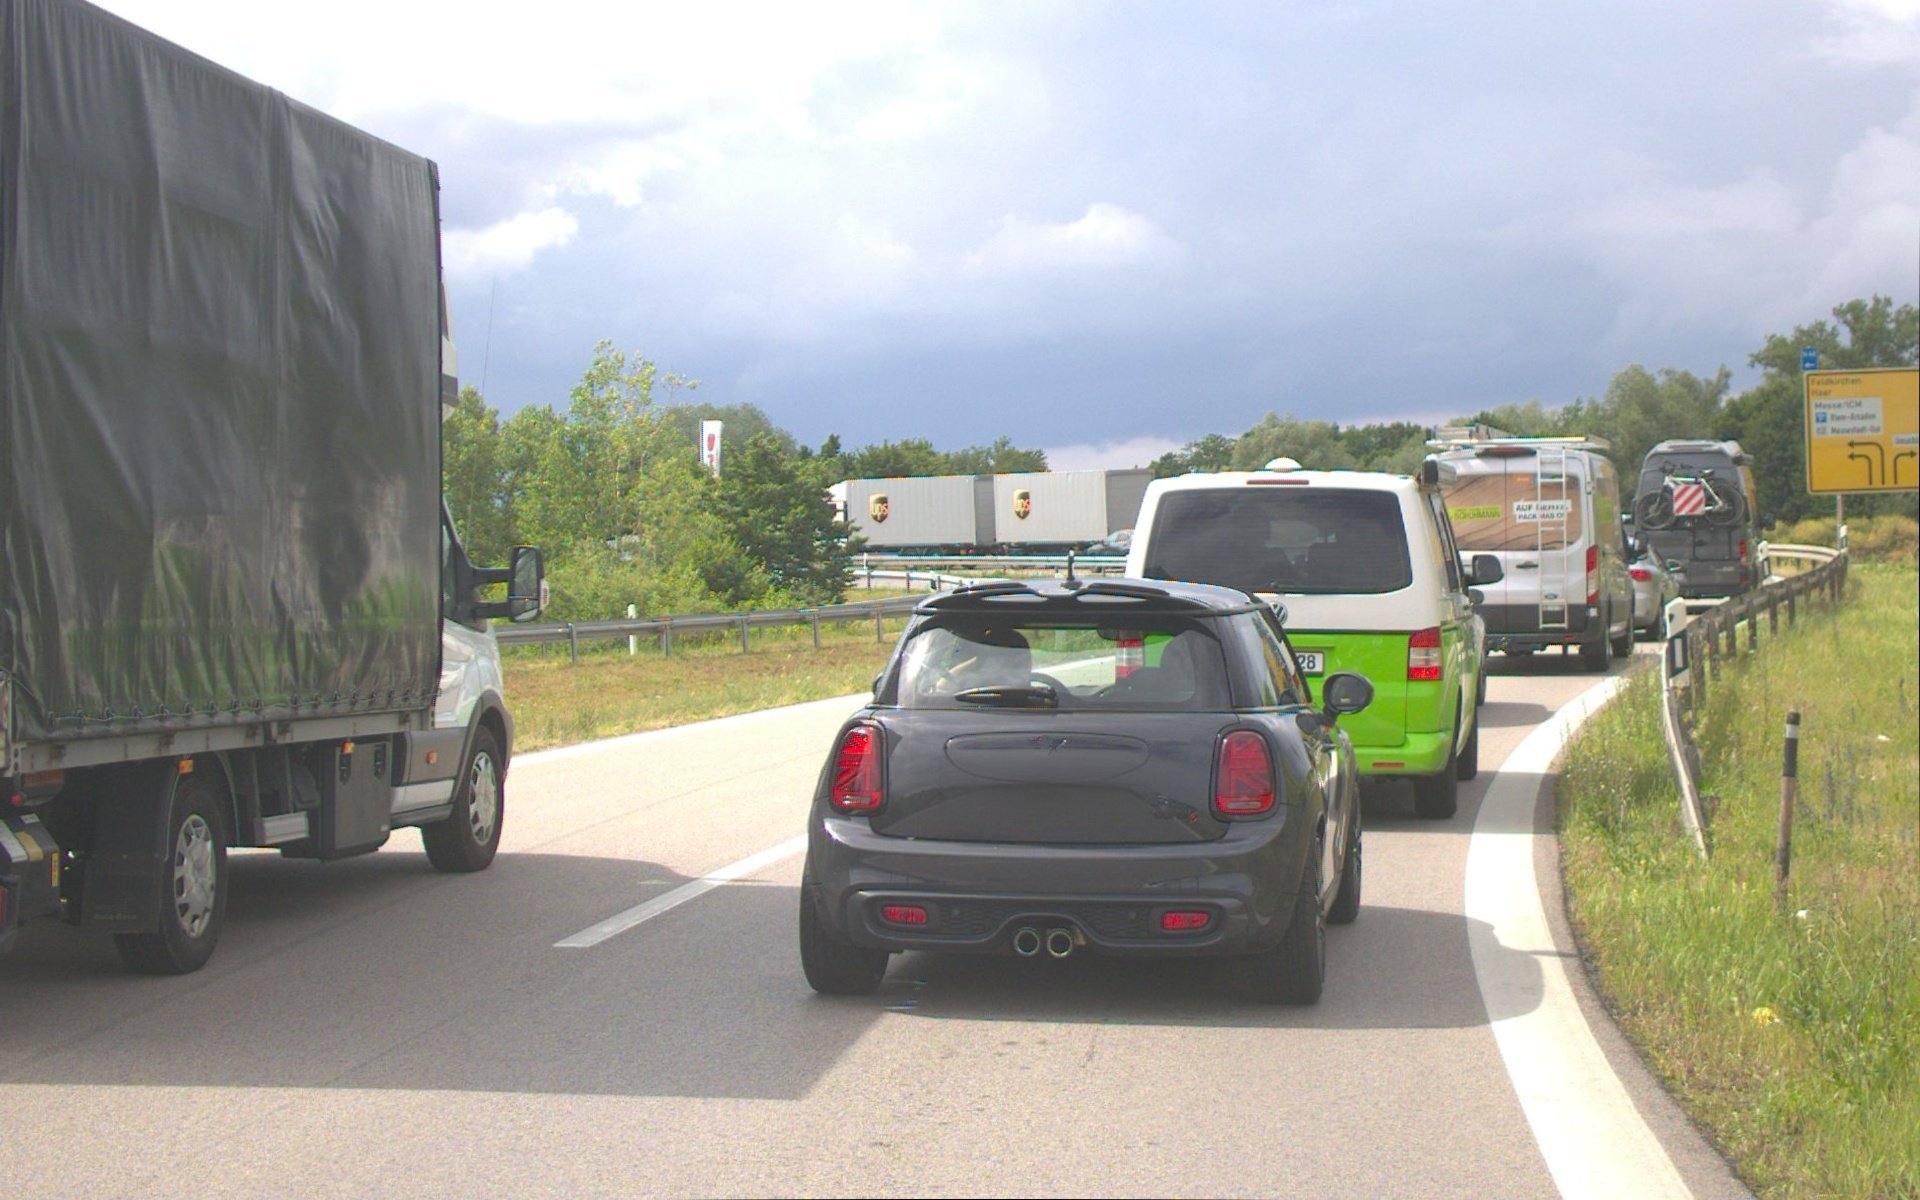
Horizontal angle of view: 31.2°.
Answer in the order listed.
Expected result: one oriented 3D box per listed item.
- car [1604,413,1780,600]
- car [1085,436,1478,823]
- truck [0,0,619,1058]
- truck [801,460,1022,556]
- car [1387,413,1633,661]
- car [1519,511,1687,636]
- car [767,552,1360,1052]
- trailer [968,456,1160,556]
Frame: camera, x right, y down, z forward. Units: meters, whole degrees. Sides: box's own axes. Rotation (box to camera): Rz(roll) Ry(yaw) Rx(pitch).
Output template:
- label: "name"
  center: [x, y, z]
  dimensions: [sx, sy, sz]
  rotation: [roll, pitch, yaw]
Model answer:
- label: "car"
  center: [12.777, -1.548, 59.656]
  dimensions: [2.313, 3.058, 6.656]
  rotation: [1, 0, 18]
- label: "car"
  center: [2.008, 0.128, 20.314]
  dimensions: [1.912, 2.038, 4.179]
  rotation: [0, 1, 11]
- label: "truck"
  center: [-3.516, -0.290, 13.637]
  dimensions: [2.561, 3.157, 7.466]
  rotation: [1, 0, 8]
- label: "truck"
  center: [-2.139, -3.909, 146.927]
  dimensions: [10.021, 3.962, 2.838]
  rotation: [1, 0, 41]
- label: "car"
  center: [6.354, -0.687, 39.198]
  dimensions: [2.213, 2.613, 5.530]
  rotation: [1, 0, 15]
- label: "car"
  center: [8.946, -0.367, 47.622]
  dimensions: [1.995, 1.636, 3.926]
  rotation: [1, 0, 15]
- label: "car"
  center: [0.531, 0.604, 12.701]
  dimensions: [1.800, 1.541, 3.737]
  rotation: [0, 1, 8]
- label: "trailer"
  center: [4.163, -3.771, 140.196]
  dimensions: [3.036, 3.884, 8.771]
  rotation: [1, 0, -36]
